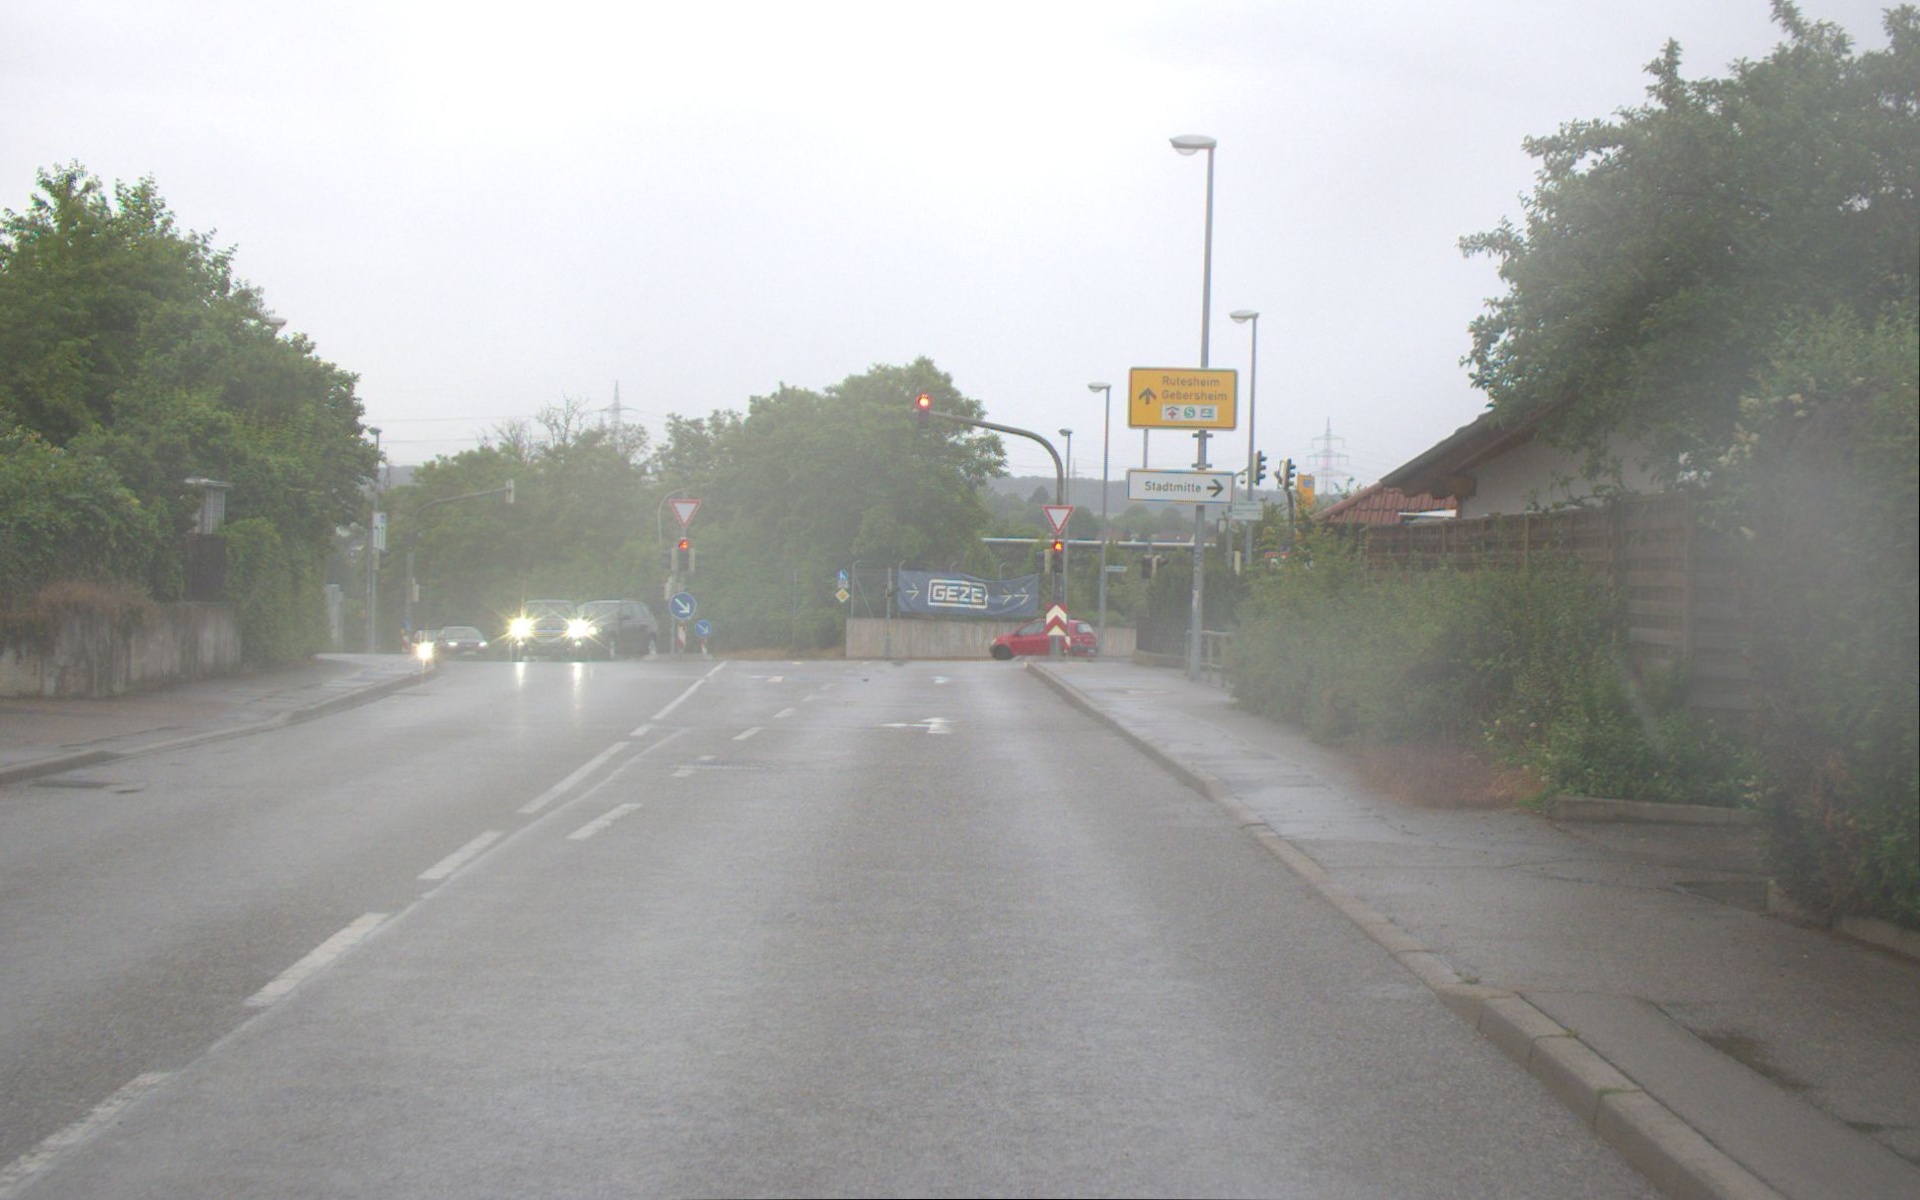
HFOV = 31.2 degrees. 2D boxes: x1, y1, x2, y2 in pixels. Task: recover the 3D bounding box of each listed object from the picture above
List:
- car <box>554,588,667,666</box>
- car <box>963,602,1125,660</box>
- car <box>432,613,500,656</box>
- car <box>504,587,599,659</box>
[{"bbox_3d":[-9.429,0.718,92.966,1.773,2.007,3.998,2,1,13],"label":"car"},{"bbox_3d":[2.769,1.005,112.967,4.747,1.684,2.302,-2,0,22],"label":"car"},{"bbox_3d":[-18.573,1.281,129.064,1.993,1.459,4.001,-1,1,-16],"label":"car"},{"bbox_3d":[-9.315,0.501,78.597,1.805,1.518,4.000,2,1,-2],"label":"car"}]
